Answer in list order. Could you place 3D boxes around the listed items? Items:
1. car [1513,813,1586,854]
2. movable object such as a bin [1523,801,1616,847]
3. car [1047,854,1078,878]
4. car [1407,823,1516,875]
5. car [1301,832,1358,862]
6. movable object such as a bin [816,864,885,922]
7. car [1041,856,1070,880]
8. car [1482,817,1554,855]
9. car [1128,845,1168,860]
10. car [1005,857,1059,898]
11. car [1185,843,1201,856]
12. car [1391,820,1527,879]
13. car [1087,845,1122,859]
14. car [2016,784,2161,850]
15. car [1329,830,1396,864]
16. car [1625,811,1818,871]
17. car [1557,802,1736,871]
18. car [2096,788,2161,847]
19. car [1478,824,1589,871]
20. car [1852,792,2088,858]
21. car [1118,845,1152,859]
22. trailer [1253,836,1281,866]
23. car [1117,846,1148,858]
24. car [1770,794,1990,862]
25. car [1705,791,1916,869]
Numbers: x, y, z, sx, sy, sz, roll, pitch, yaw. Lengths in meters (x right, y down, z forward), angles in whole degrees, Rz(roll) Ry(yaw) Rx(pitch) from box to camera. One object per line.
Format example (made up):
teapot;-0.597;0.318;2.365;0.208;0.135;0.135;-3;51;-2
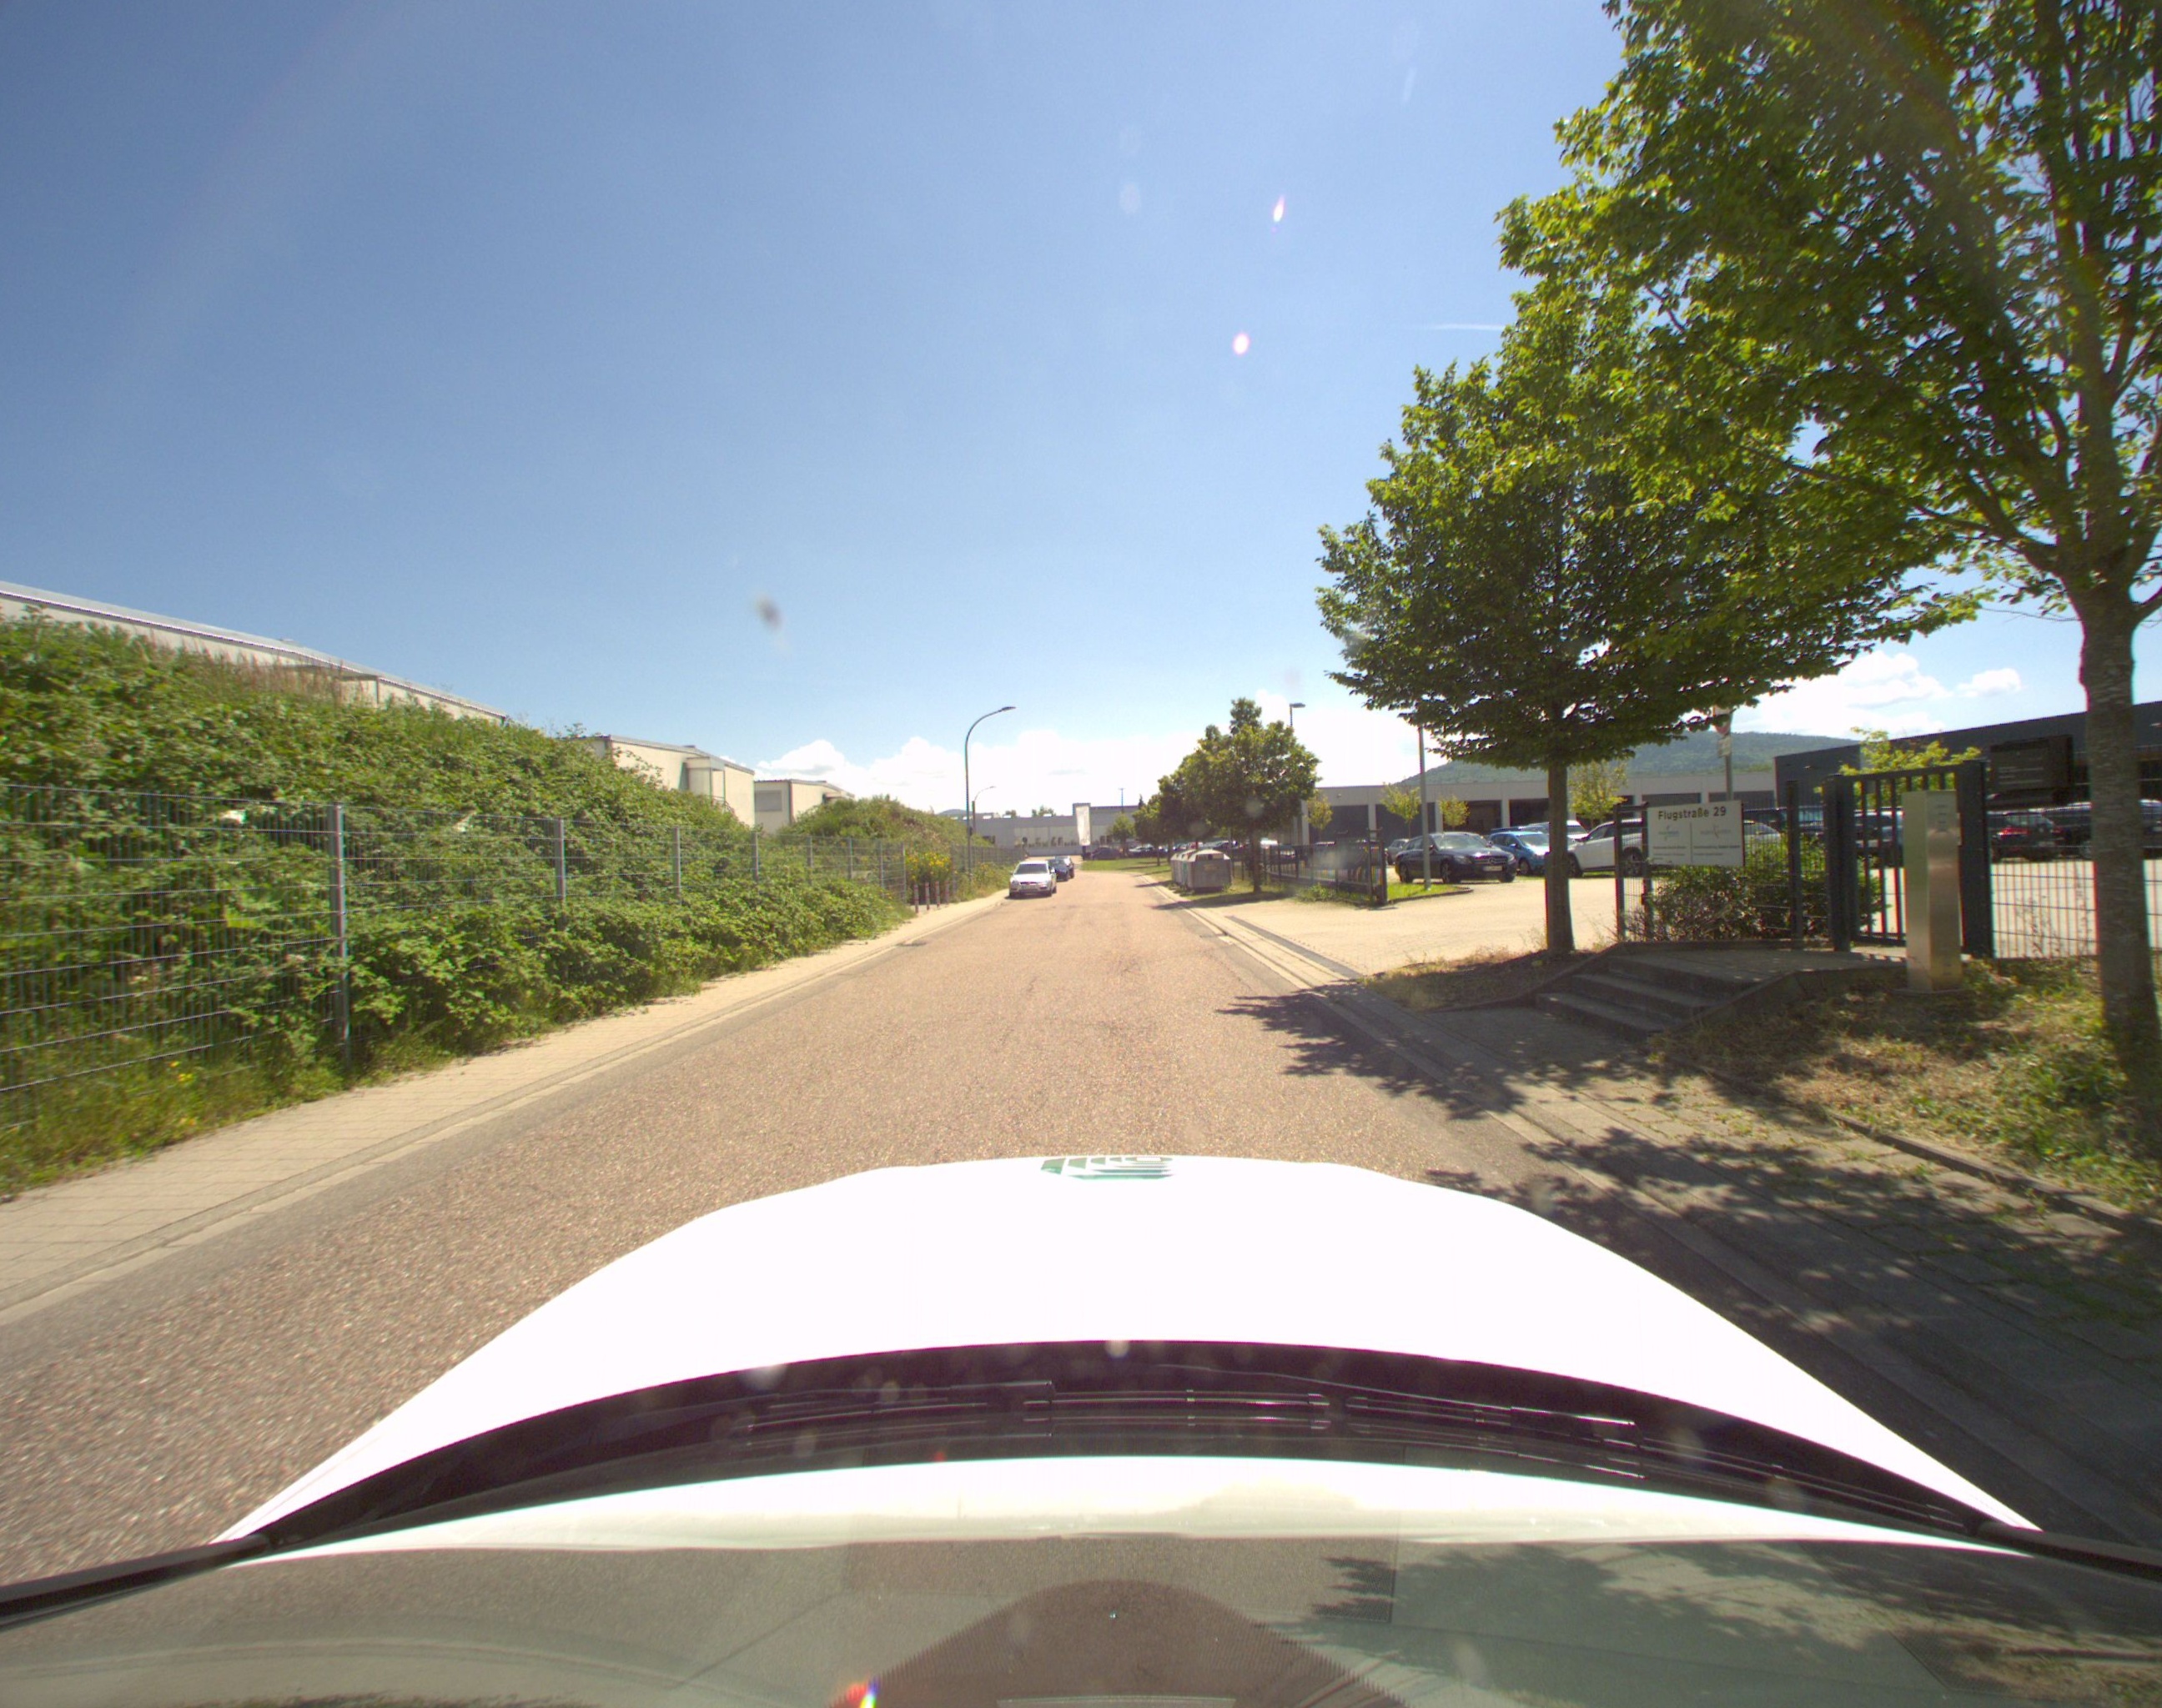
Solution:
car;33.505;-1.388;58.504;1.875;2.478;5.502;-3;-3;-1
movable object such as a bin;46.013;-2.750;77.148;3.529;3.974;8.667;-2;0;0
car;-1.275;0.791;57.520;1.826;1.546;4.267;-3;0;2
car;13.259;-0.244;28.681;1.784;1.623;4.241;-2;2;0
car;13.741;-0.430;45.287;1.784;1.531;4.421;-2;2;0
movable object such as a bin;-6.435;1.064;22.842;1.298;1.477;1.840;-2;0;2
car;-1.569;0.892;52.262;1.651;1.417;4.145;-3;0;0
car;30.889;-1.221;57.780;1.875;2.263;5.653;-3;-3;-1
car;7.757;-0.157;94.321;4.424;1.398;1.999;-2;-2;0
car;-2.057;0.965;35.258;1.826;1.546;4.369;-3;0;2
car;17.380;-0.690;126.070;1.986;1.827;4.001;-2;-2;2
car;10.653;-0.039;23.348;1.784;1.455;4.408;-2;-2;0
car;2.669;-0.174;94.496;3.974;1.398;1.999;-2;-2;0
car;30.770;-1.083;23.669;1.905;1.715;4.530;-2;-2;0
car;13.667;-0.306;39.815;1.784;1.433;4.141;-2;-2;0
car;18.225;-0.288;23.519;1.834;1.433;4.648;-2;-2;0
car;15.960;-0.401;23.351;1.834;1.653;4.648;-2;-2;0
car;33.524;-1.190;23.824;1.905;1.715;4.530;-2;-2;0
car;15.872;-0.272;28.783;1.641;1.491;4.022;-2;2;0
car;25.781;-0.764;23.915;1.905;1.533;4.514;-2;-2;0
car;6.579;-0.243;99.336;3.974;1.398;1.999;-2;-2;0
trailer;14.020;-0.263;61.500;1.486;2.006;3.268;-3;2;4
car;6.795;-0.255;108.151;3.974;1.398;1.999;-2;-2;0
car;23.059;-0.658;23.812;1.905;1.623;4.514;-2;-2;0
car;20.696;-0.575;23.424;1.905;1.900;4.514;-2;-2;0
